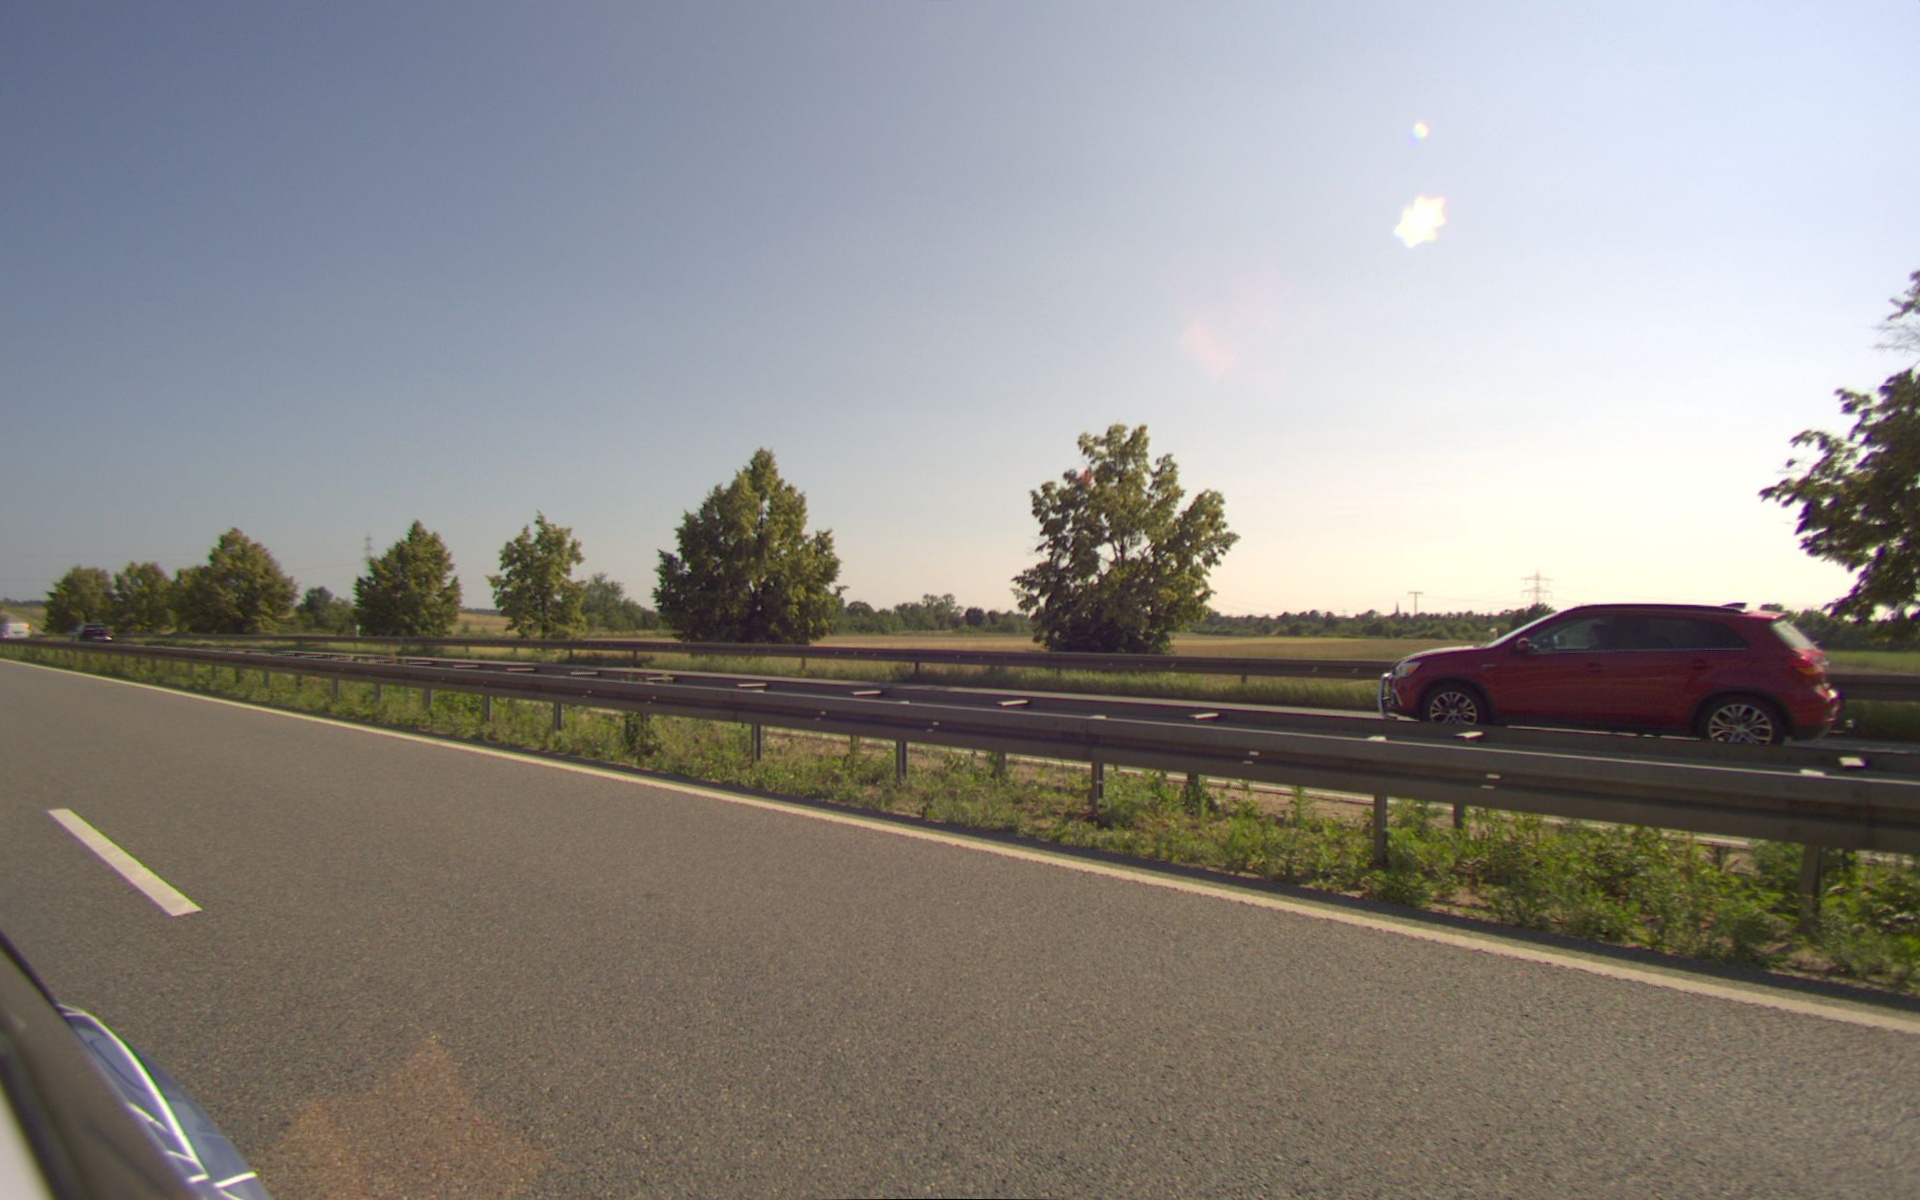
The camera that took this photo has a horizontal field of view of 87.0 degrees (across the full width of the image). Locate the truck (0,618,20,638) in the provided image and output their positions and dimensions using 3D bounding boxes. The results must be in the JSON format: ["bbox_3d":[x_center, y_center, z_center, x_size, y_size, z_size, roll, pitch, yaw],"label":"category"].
[{"bbox_3d":[-93.079,2.754,98.385,5.288,1.854,1.903,-2,-1,41],"label":"truck"}]

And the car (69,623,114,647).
[{"bbox_3d":[-60.571,2.423,70.559,4.452,1.553,1.793,-1,-1,42],"label":"car"}]

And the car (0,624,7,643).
[{"bbox_3d":[-80.875,2.794,84.302,4.452,1.553,1.793,-1,-1,42],"label":"car"}]

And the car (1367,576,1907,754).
[{"bbox_3d":[7.342,0.591,11.409,4.771,1.605,1.824,-1,0,41],"label":"car"}]
